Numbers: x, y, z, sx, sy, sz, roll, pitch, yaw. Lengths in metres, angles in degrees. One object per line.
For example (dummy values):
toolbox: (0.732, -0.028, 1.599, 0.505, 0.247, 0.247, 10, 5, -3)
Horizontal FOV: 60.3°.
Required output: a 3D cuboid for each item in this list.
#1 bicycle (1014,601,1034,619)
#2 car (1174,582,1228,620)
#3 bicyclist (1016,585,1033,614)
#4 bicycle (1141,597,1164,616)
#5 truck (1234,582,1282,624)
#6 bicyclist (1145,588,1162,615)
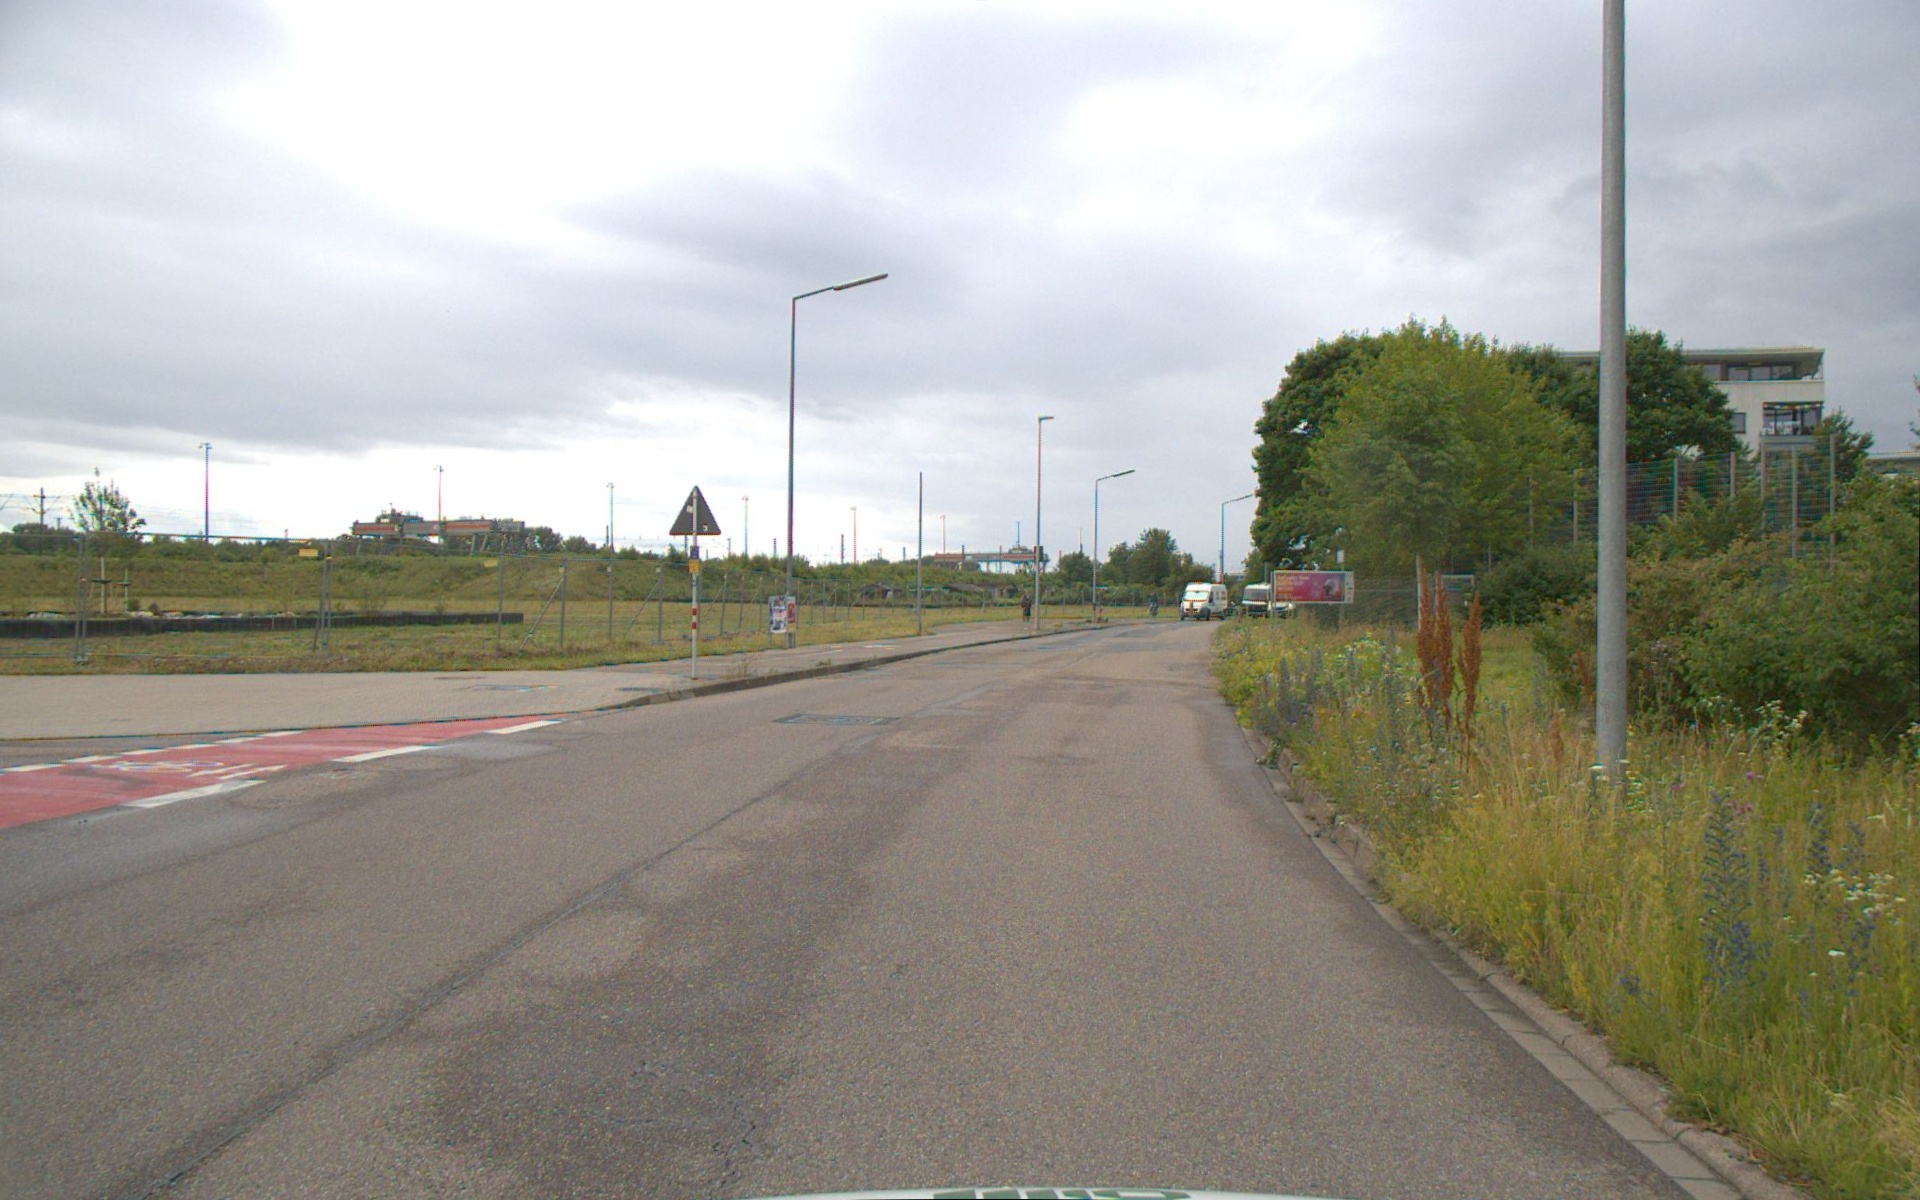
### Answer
bicycle: (3.477, 0.512, 89.127, 0.786, 0.923, 2.234, 0, 1, 10)
car: (16.835, 0.054, 115.359, 2.242, 2.600, 6.409, 0, 0, 22)
bicyclist: (3.466, -0.051, 89.065, 0.765, 1.553, 1.095, 0, 1, 10)
bicycle: (13.296, 0.448, 114.011, 0.803, 1.225, 2.555, 1, 1, 26)
truck: (23.520, 0.208, 130.437, 2.292, 3.115, 7.497, -2, 0, 21)
bicyclist: (13.344, 0.075, 114.121, 0.811, 1.853, 1.329, 0, 1, 26)
